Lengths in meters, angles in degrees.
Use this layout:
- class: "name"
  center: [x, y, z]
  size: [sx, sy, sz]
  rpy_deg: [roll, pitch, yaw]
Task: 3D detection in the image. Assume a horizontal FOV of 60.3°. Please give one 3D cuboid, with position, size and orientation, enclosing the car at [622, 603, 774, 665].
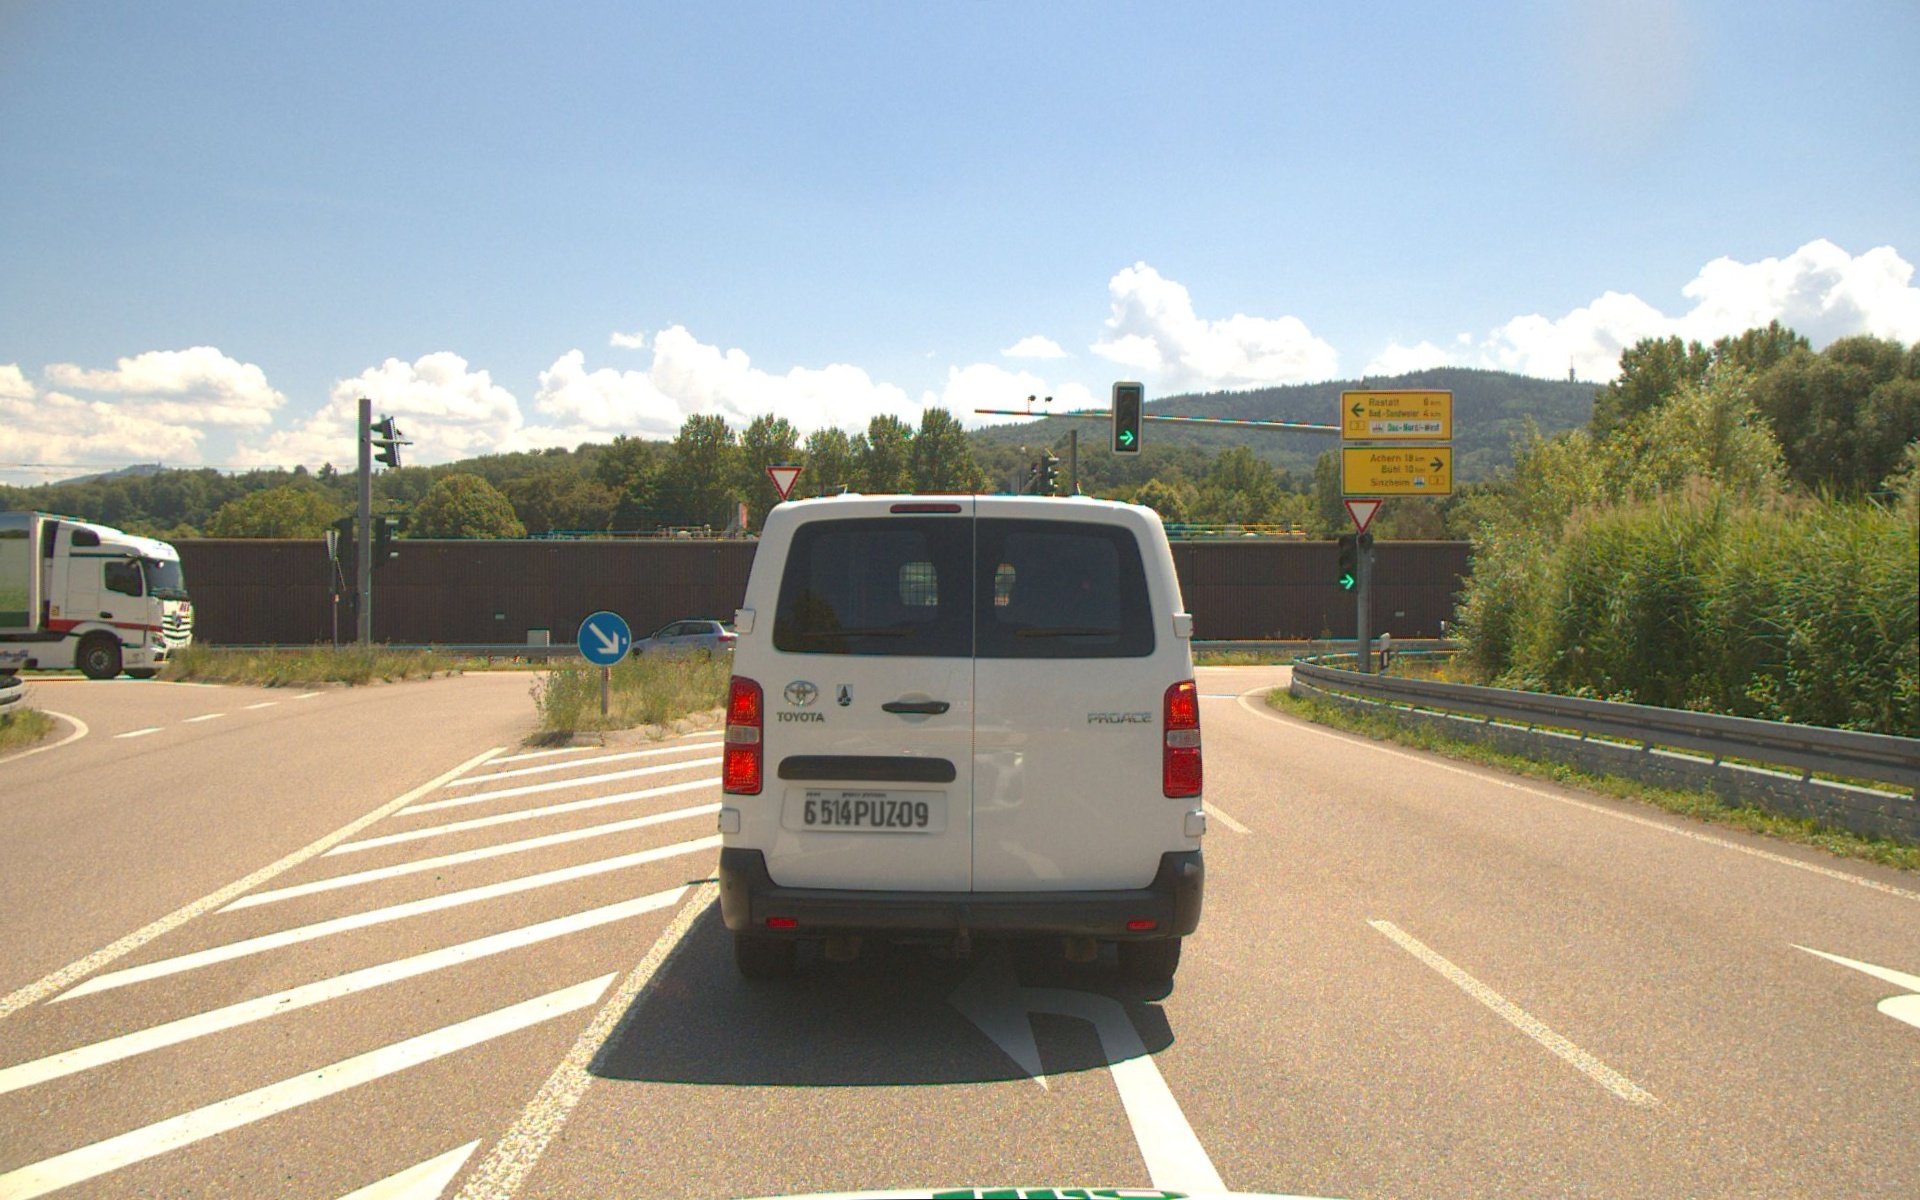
- class: "car"
  center: [-7.091, 0.886, 44.624]
  size: [3.926, 1.579, 1.989]
  rpy_deg: [0, -1, 40]

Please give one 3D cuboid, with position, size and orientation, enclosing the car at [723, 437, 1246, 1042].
- class: "car"
  center: [0.057, 0.486, 7.638]
  size: [1.778, 2.053, 3.999]
  rpy_deg: [0, 0, -1]

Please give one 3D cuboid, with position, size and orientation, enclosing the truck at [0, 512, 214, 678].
- class: "truck"
  center: [-22.385, -0.113, 41.771]
  size: [5.649, 4.024, 3.061]
  rpy_deg: [0, -1, -3]

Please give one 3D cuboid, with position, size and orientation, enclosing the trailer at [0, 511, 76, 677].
- class: "trailer"
  center: [-29.513, -0.151, 41.432]
  size: [12.877, 4.024, 3.060]
  rpy_deg: [0, -1, -3]
